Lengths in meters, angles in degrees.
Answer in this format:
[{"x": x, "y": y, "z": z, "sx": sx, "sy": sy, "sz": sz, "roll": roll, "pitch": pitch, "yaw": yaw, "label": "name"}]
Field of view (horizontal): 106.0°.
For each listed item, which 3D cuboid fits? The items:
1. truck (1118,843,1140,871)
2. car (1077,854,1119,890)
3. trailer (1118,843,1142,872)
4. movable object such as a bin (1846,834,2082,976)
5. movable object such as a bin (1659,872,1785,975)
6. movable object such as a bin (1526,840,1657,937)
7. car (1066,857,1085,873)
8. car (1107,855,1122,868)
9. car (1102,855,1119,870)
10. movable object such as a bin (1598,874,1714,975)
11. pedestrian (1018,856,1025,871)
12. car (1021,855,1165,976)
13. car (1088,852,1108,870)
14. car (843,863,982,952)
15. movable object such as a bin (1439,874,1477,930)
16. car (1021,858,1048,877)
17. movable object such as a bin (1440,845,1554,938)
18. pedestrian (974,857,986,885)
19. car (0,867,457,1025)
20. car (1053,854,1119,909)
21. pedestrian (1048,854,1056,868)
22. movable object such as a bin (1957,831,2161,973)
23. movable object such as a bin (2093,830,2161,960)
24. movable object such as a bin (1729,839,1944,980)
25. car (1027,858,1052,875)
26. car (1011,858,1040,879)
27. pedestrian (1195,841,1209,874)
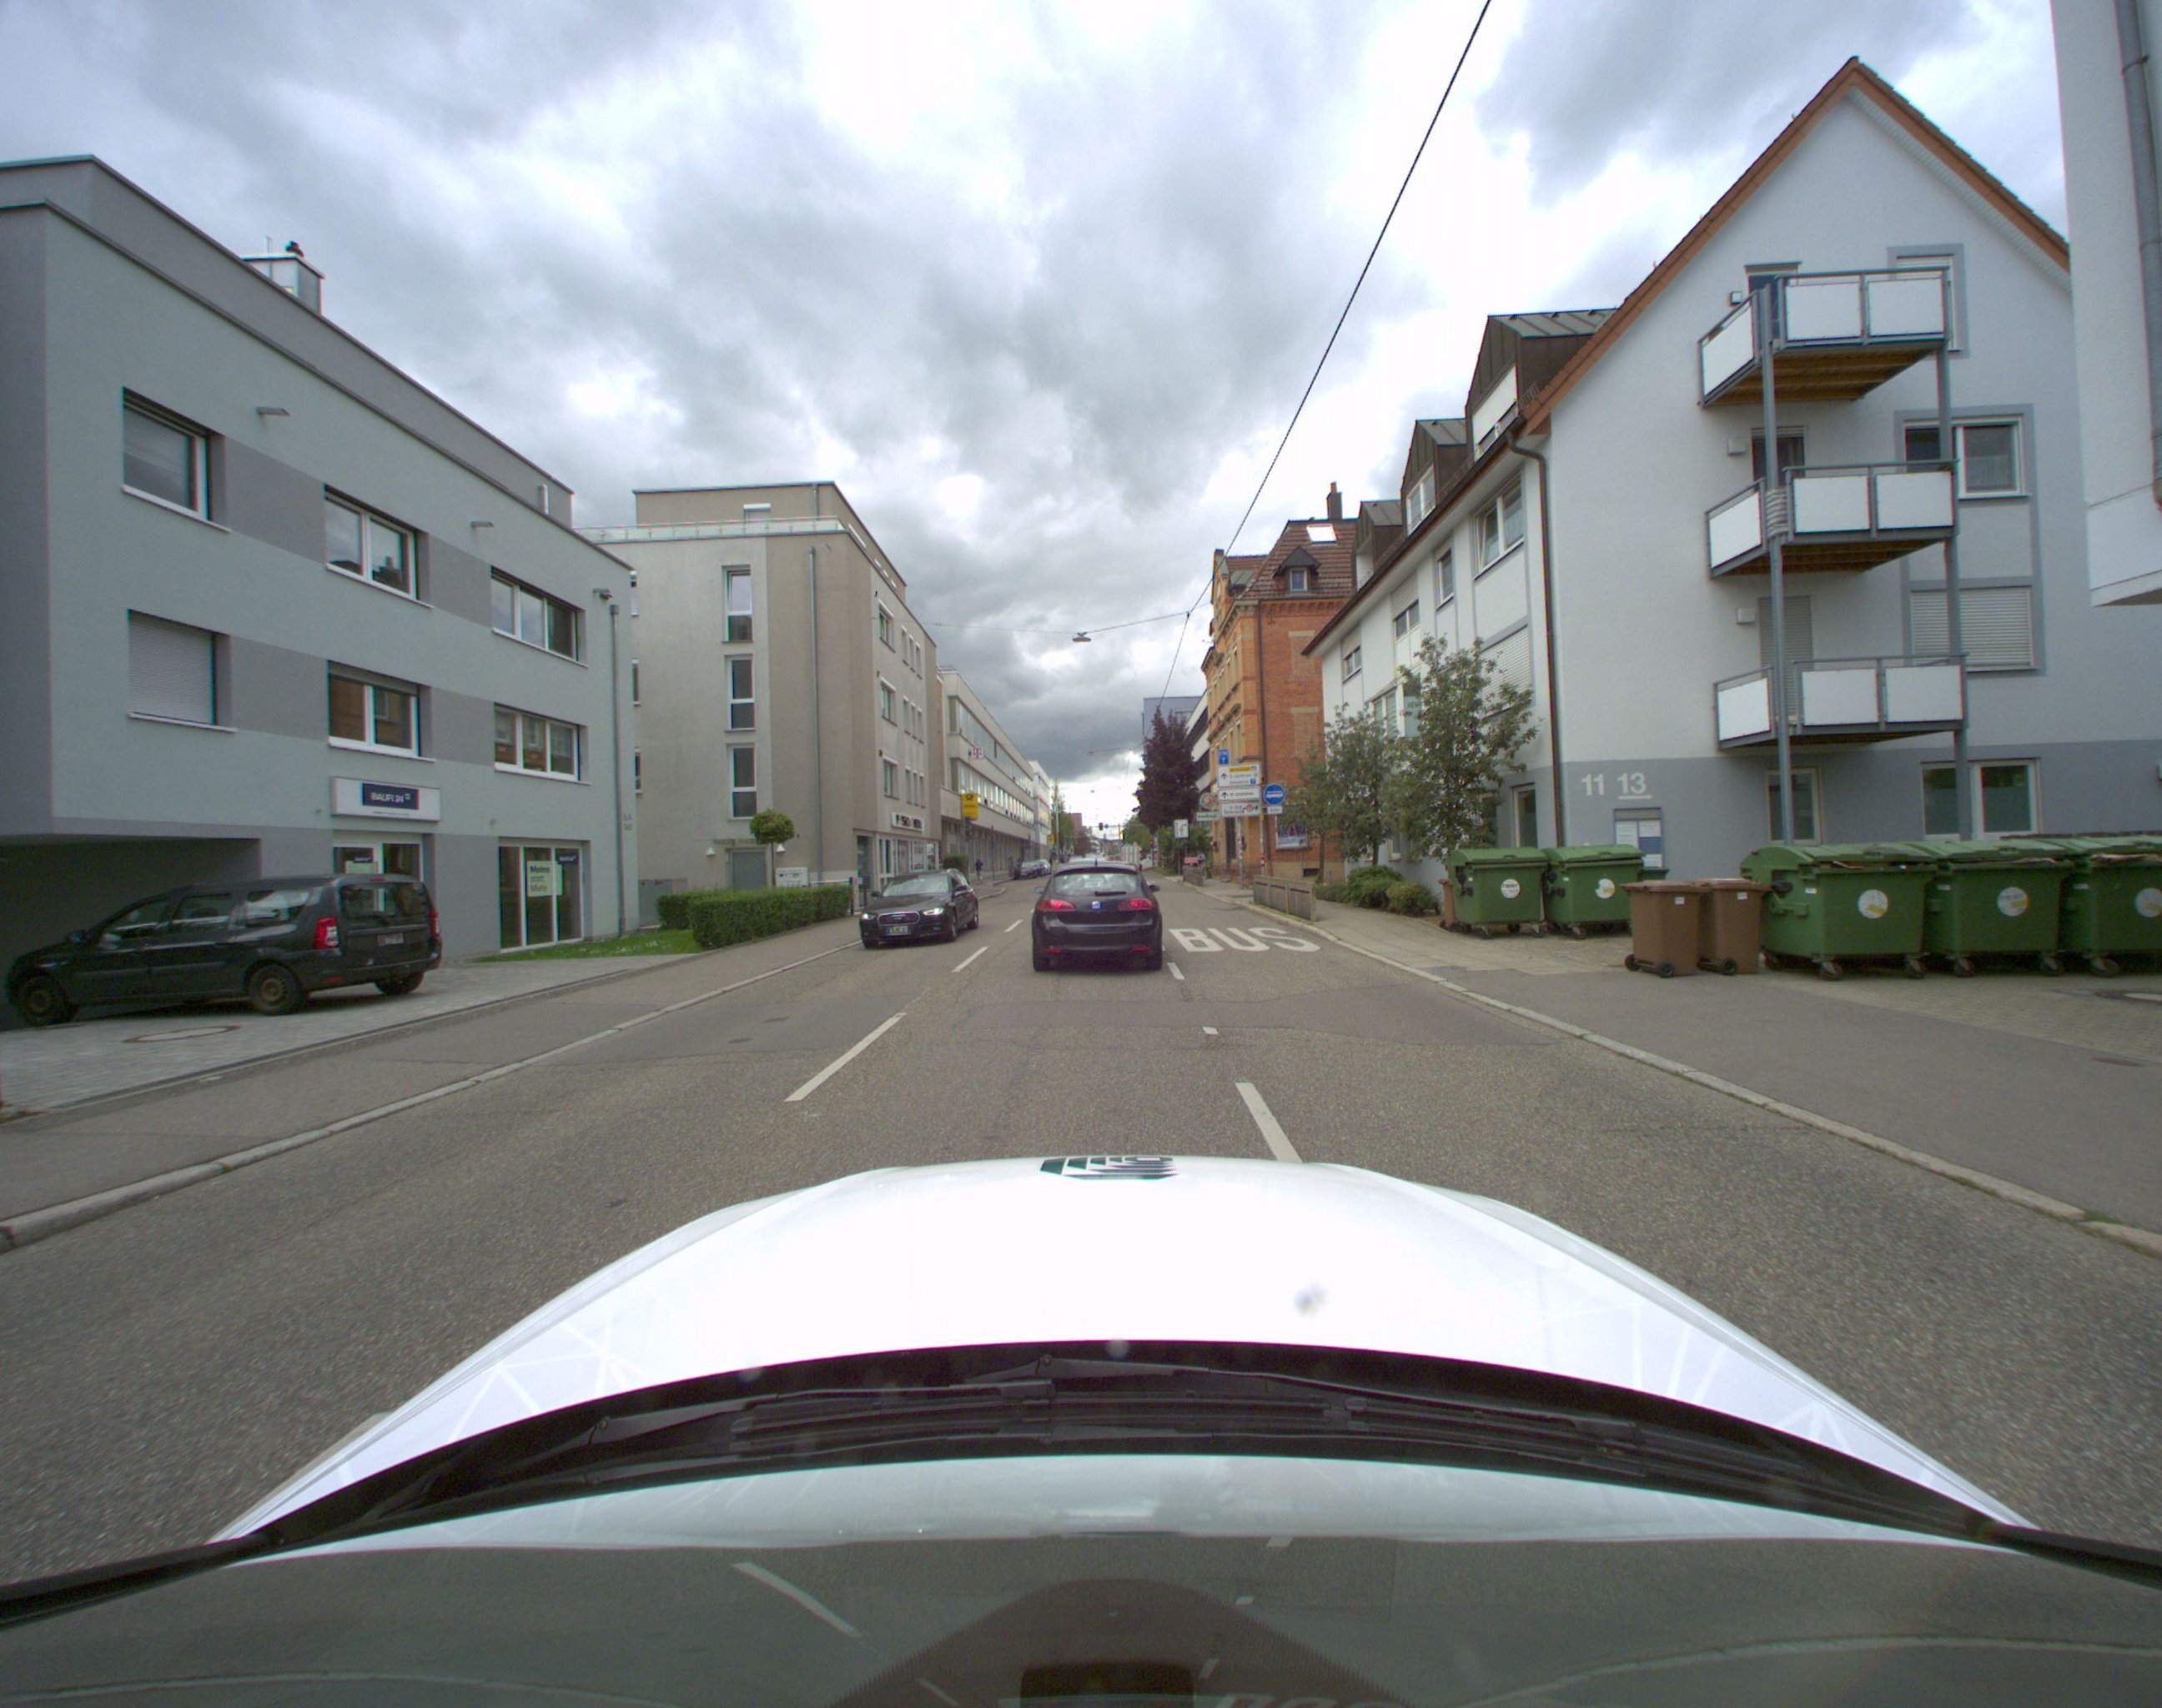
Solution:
[{"x": 4.714, "y": 0.302, "z": 80.393, "sx": 1.986, "sy": 2.607, "sz": 3.261, "roll": -2, "pitch": 0, "yaw": 1, "label": "truck"}, {"x": 0.810, "y": 0.832, "z": 38.479, "sx": 1.797, "sy": 1.553, "sz": 3.738, "roll": -2, "pitch": 0, "yaw": 1, "label": "car"}, {"x": 4.641, "y": 0.306, "z": 77.619, "sx": 1.986, "sy": 2.607, "sz": 5.350, "roll": -2, "pitch": 0, "yaw": 1, "label": "trailer"}, {"x": 9.650, "y": 0.526, "z": 8.990, "sx": 1.203, "sy": 1.417, "sz": 1.261, "roll": -2, "pitch": 0, "yaw": 5, "label": "movable object such as a bin"}, {"x": 7.366, "y": 0.776, "z": 9.408, "sx": 0.694, "sy": 1.079, "sz": 0.973, "roll": -2, "pitch": 0, "yaw": 6, "label": "movable object such as a bin"}, {"x": 8.131, "y": 0.526, "z": 13.066, "sx": 1.262, "sy": 1.435, "sz": 1.308, "roll": -2, "pitch": 0, "yaw": 2, "label": "movable object such as a bin"}, {"x": -0.607, "y": 1.232, "z": 96.935, "sx": 1.986, "sy": 1.738, "sz": 4.554, "roll": -3, "pitch": 0, "yaw": 1, "label": "car"}, {"x": 4.235, "y": 0.904, "z": 102.682, "sx": 1.797, "sy": 1.601, "sz": 3.738, "roll": -1, "pitch": 0, "yaw": 1, "label": "car"}, {"x": 3.296, "y": 0.971, "z": 90.088, "sx": 1.797, "sy": 1.601, "sz": 3.738, "roll": -1, "pitch": 0, "yaw": 1, "label": "car"}, {"x": 6.639, "y": 0.785, "z": 9.451, "sx": 0.680, "sy": 1.067, "sz": 0.973, "roll": -2, "pitch": 0, "yaw": 6, "label": "movable object such as a bin"}, {"x": -6.679, "y": 1.066, "z": 91.535, "sx": 0.653, "sy": 1.623, "sz": 0.681, "roll": -2, "pitch": 0, "yaw": 3, "label": "pedestrian"}, {"x": 0.213, "y": 0.775, "z": 12.101, "sx": 1.759, "sy": 1.433, "sz": 3.830, "roll": -2, "pitch": 0, "yaw": 2, "label": "car"}, {"x": 1.622, "y": 0.615, "z": 76.228, "sx": 1.797, "sy": 1.601, "sz": 3.738, "roll": -1, "pitch": 0, "yaw": 1, "label": "car"}, {"x": -3.394, "y": 1.023, "z": 17.259, "sx": 1.872, "sy": 1.451, "sz": 4.215, "roll": -5, "pitch": 0, "yaw": 1, "label": "car"}, {"x": 6.564, "y": 0.830, "z": 14.191, "sx": 0.428, "sy": 0.921, "sz": 0.465, "roll": -2, "pitch": 0, "yaw": 2, "label": "movable object such as a bin"}, {"x": -4.113, "y": 1.155, "z": 71.971, "sx": 1.986, "sy": 1.517, "sz": 4.176, "roll": -2, "pitch": 0, "yaw": 1, "label": "car"}, {"x": 6.793, "y": 0.583, "z": 13.373, "sx": 1.262, "sy": 1.417, "sz": 1.163, "roll": -2, "pitch": 0, "yaw": 2, "label": "movable object such as a bin"}, {"x": -6.459, "y": 1.081, "z": 52.137, "sx": 0.640, "sy": 1.769, "sz": 0.809, "roll": -2, "pitch": 0, "yaw": 0, "label": "pedestrian"}, {"x": -10.575, "y": 1.097, "z": 10.278, "sx": 4.143, "sy": 1.667, "sz": 1.727, "roll": -2, "pitch": -1, "yaw": 5, "label": "car"}, {"x": 0.182, "y": 0.788, "z": 24.944, "sx": 1.797, "sy": 1.492, "sz": 3.738, "roll": -2, "pitch": 0, "yaw": 1, "label": "car"}, {"x": -4.114, "y": 0.983, "z": 115.619, "sx": 0.915, "sy": 1.869, "sz": 0.783, "roll": -2, "pitch": 0, "yaw": 1, "label": "pedestrian"}, {"x": 10.901, "y": 0.484, "z": 8.934, "sx": 1.203, "sy": 1.417, "sz": 1.261, "roll": -2, "pitch": 0, "yaw": 5, "label": "movable object such as a bin"}, {"x": 12.427, "y": 0.437, "z": 8.865, "sx": 1.203, "sy": 1.417, "sz": 1.261, "roll": -2, "pitch": 0, "yaw": 5, "label": "movable object such as a bin"}, {"x": 8.294, "y": 0.576, "z": 9.038, "sx": 1.203, "sy": 1.417, "sz": 1.261, "roll": -2, "pitch": 0, "yaw": 5, "label": "movable object such as a bin"}, {"x": -3.898, "y": 1.148, "z": 77.675, "sx": 1.986, "sy": 1.517, "sz": 4.176, "roll": -2, "pitch": 0, "yaw": 1, "label": "car"}, {"x": -4.443, "y": 1.157, "z": 66.291, "sx": 1.906, "sy": 1.517, "sz": 4.176, "roll": -3, "pitch": 0, "yaw": 1, "label": "car"}, {"x": 7.530, "y": 0.233, "z": 50.580, "sx": 0.691, "sy": 2.013, "sz": 0.676, "roll": -2, "pitch": 0, "yaw": 0, "label": "pedestrian"}]
